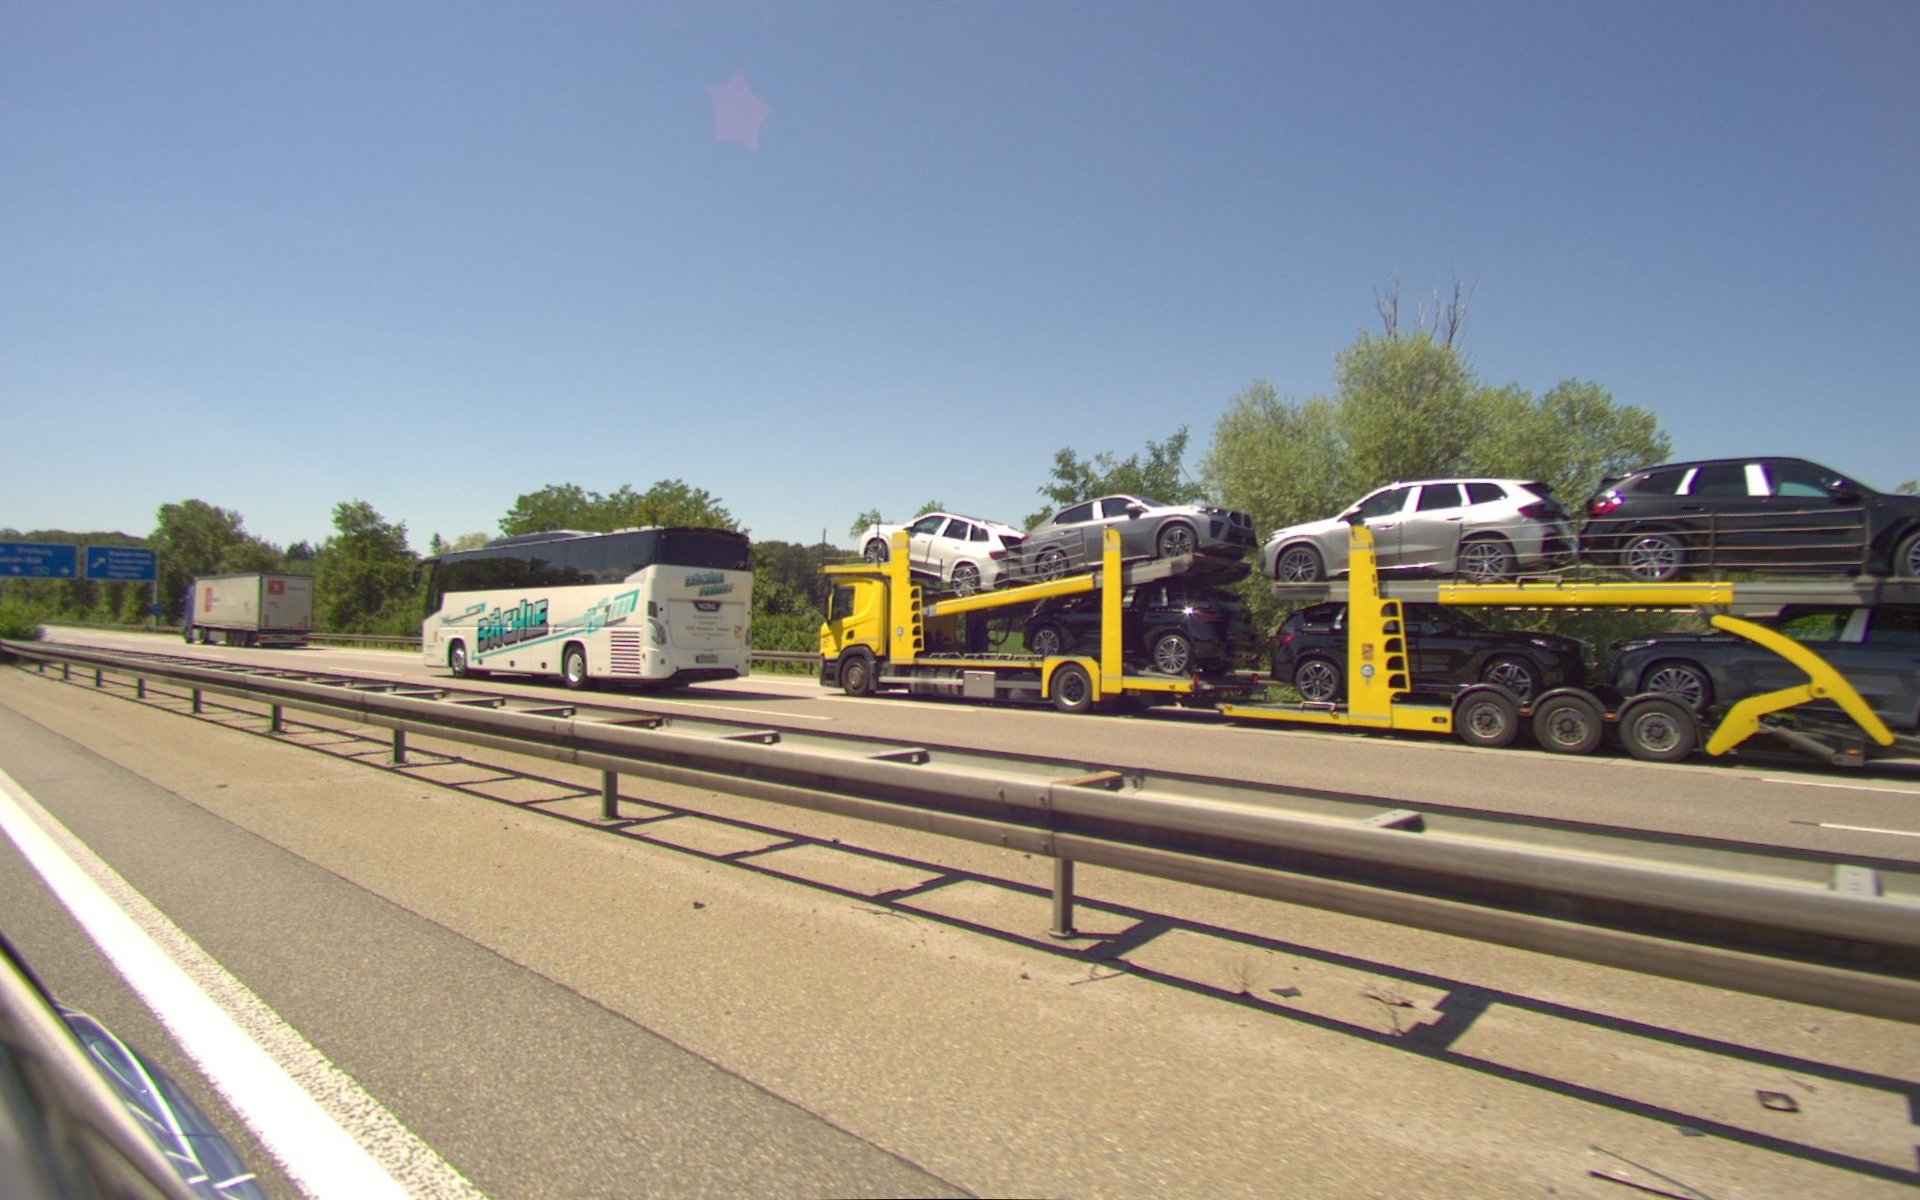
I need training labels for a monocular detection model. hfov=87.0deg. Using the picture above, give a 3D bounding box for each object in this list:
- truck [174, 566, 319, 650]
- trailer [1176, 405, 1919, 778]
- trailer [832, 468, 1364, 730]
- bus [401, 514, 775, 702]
[{"bbox_3d":[-42.428,0.526,59.721,17.461,4.375,2.924,-1,-1,41],"label":"truck"},{"bbox_3d":[8.902,-0.001,13.984,11.645,3.998,2.891,-1,-3,41],"label":"trailer"},{"bbox_3d":[2.121,0.107,19.970,10.531,3.998,2.891,-1,-3,41],"label":"trailer"},{"bbox_3d":[-9.640,0.306,24.668,12.787,3.611,2.666,-1,-4,41],"label":"bus"}]
